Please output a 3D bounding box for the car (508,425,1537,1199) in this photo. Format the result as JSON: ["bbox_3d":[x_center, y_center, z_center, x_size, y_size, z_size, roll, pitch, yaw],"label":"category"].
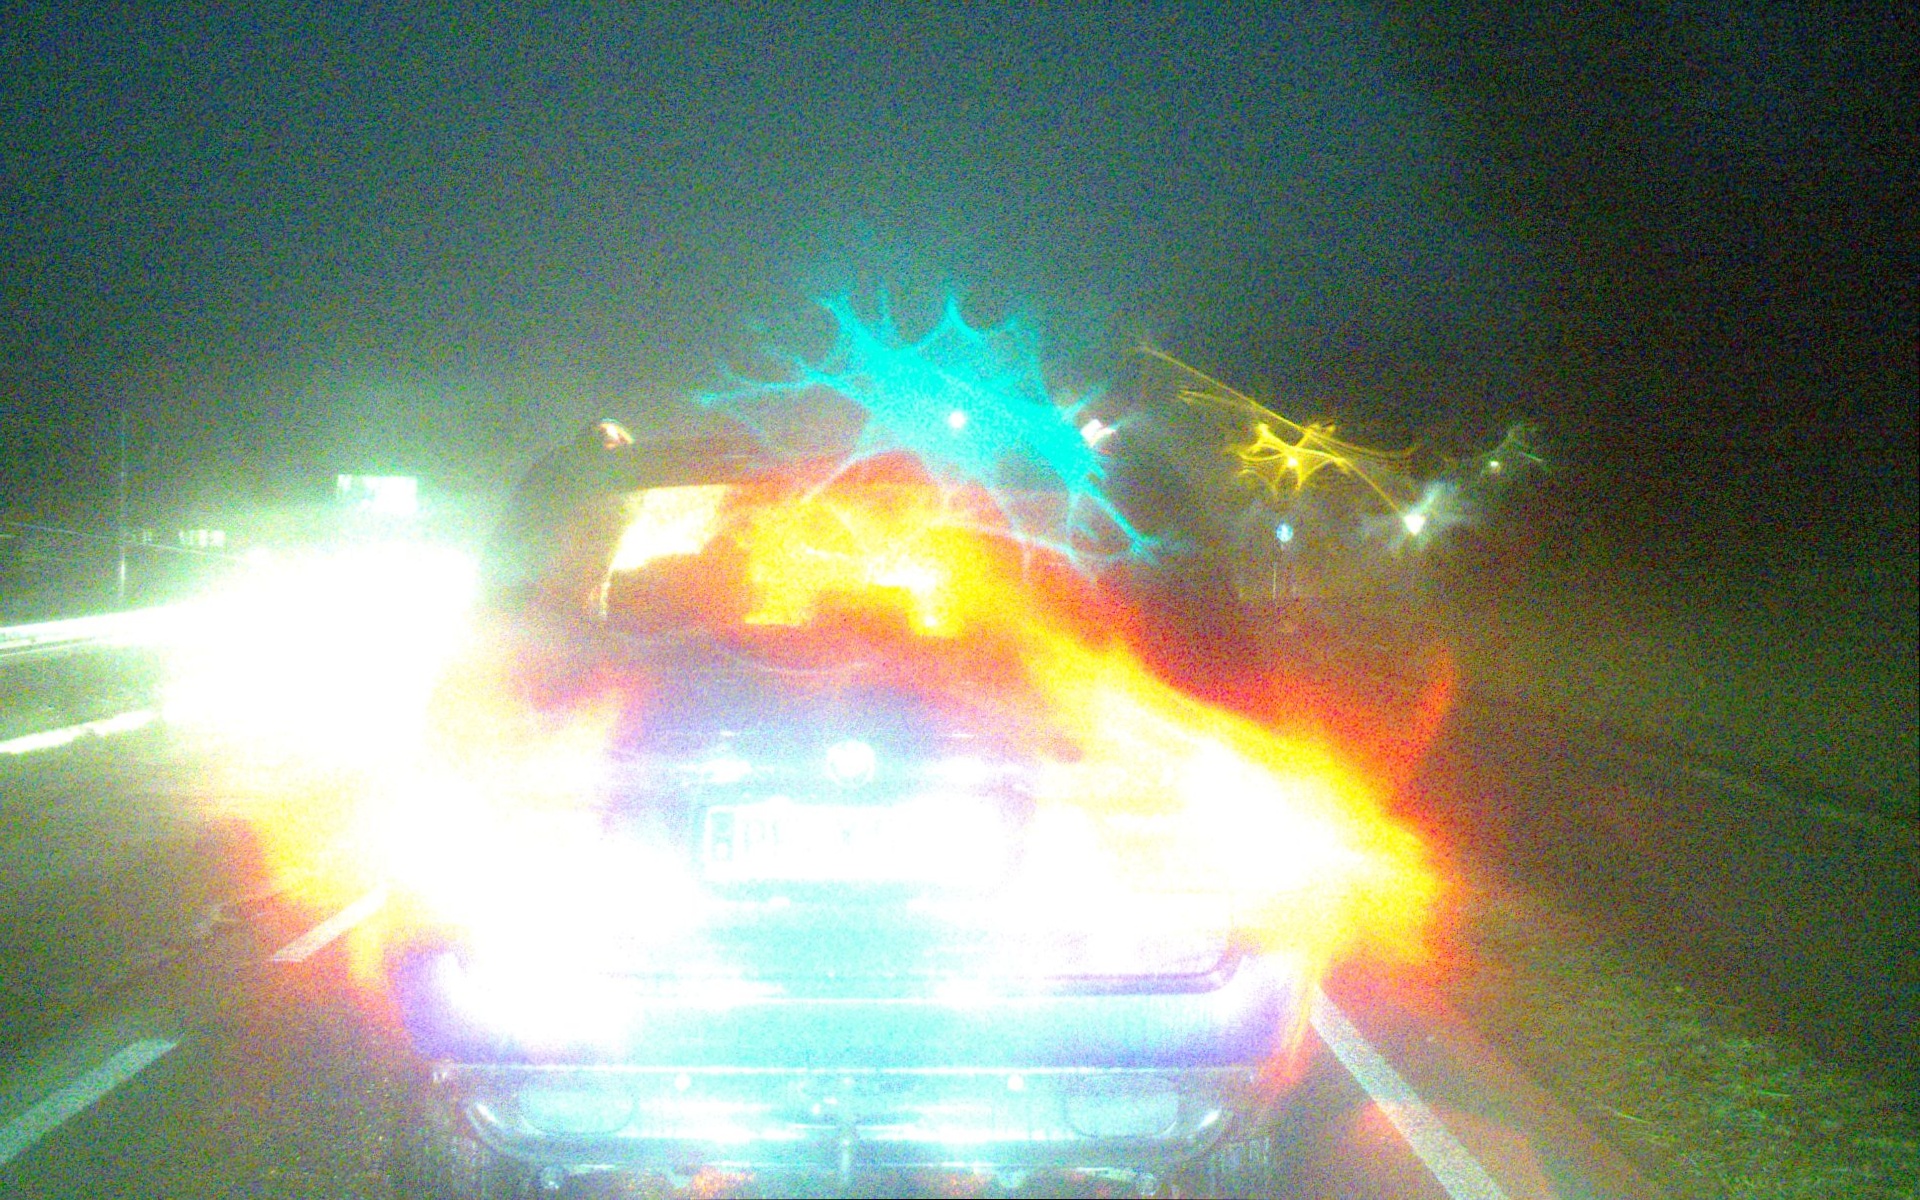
[{"bbox_3d":[0.097,0.528,7.990,1.775,1.706,4.000,1,1,0],"label":"car"}]

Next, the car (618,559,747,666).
[{"bbox_3d":[-4.546,0.168,56.798,1.951,1.650,4.125,-1,1,-2],"label":"car"}]

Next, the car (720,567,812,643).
[{"bbox_3d":[-4.216,0.086,75.168,1.837,1.540,4.257,1,1,-1],"label":"car"}]
